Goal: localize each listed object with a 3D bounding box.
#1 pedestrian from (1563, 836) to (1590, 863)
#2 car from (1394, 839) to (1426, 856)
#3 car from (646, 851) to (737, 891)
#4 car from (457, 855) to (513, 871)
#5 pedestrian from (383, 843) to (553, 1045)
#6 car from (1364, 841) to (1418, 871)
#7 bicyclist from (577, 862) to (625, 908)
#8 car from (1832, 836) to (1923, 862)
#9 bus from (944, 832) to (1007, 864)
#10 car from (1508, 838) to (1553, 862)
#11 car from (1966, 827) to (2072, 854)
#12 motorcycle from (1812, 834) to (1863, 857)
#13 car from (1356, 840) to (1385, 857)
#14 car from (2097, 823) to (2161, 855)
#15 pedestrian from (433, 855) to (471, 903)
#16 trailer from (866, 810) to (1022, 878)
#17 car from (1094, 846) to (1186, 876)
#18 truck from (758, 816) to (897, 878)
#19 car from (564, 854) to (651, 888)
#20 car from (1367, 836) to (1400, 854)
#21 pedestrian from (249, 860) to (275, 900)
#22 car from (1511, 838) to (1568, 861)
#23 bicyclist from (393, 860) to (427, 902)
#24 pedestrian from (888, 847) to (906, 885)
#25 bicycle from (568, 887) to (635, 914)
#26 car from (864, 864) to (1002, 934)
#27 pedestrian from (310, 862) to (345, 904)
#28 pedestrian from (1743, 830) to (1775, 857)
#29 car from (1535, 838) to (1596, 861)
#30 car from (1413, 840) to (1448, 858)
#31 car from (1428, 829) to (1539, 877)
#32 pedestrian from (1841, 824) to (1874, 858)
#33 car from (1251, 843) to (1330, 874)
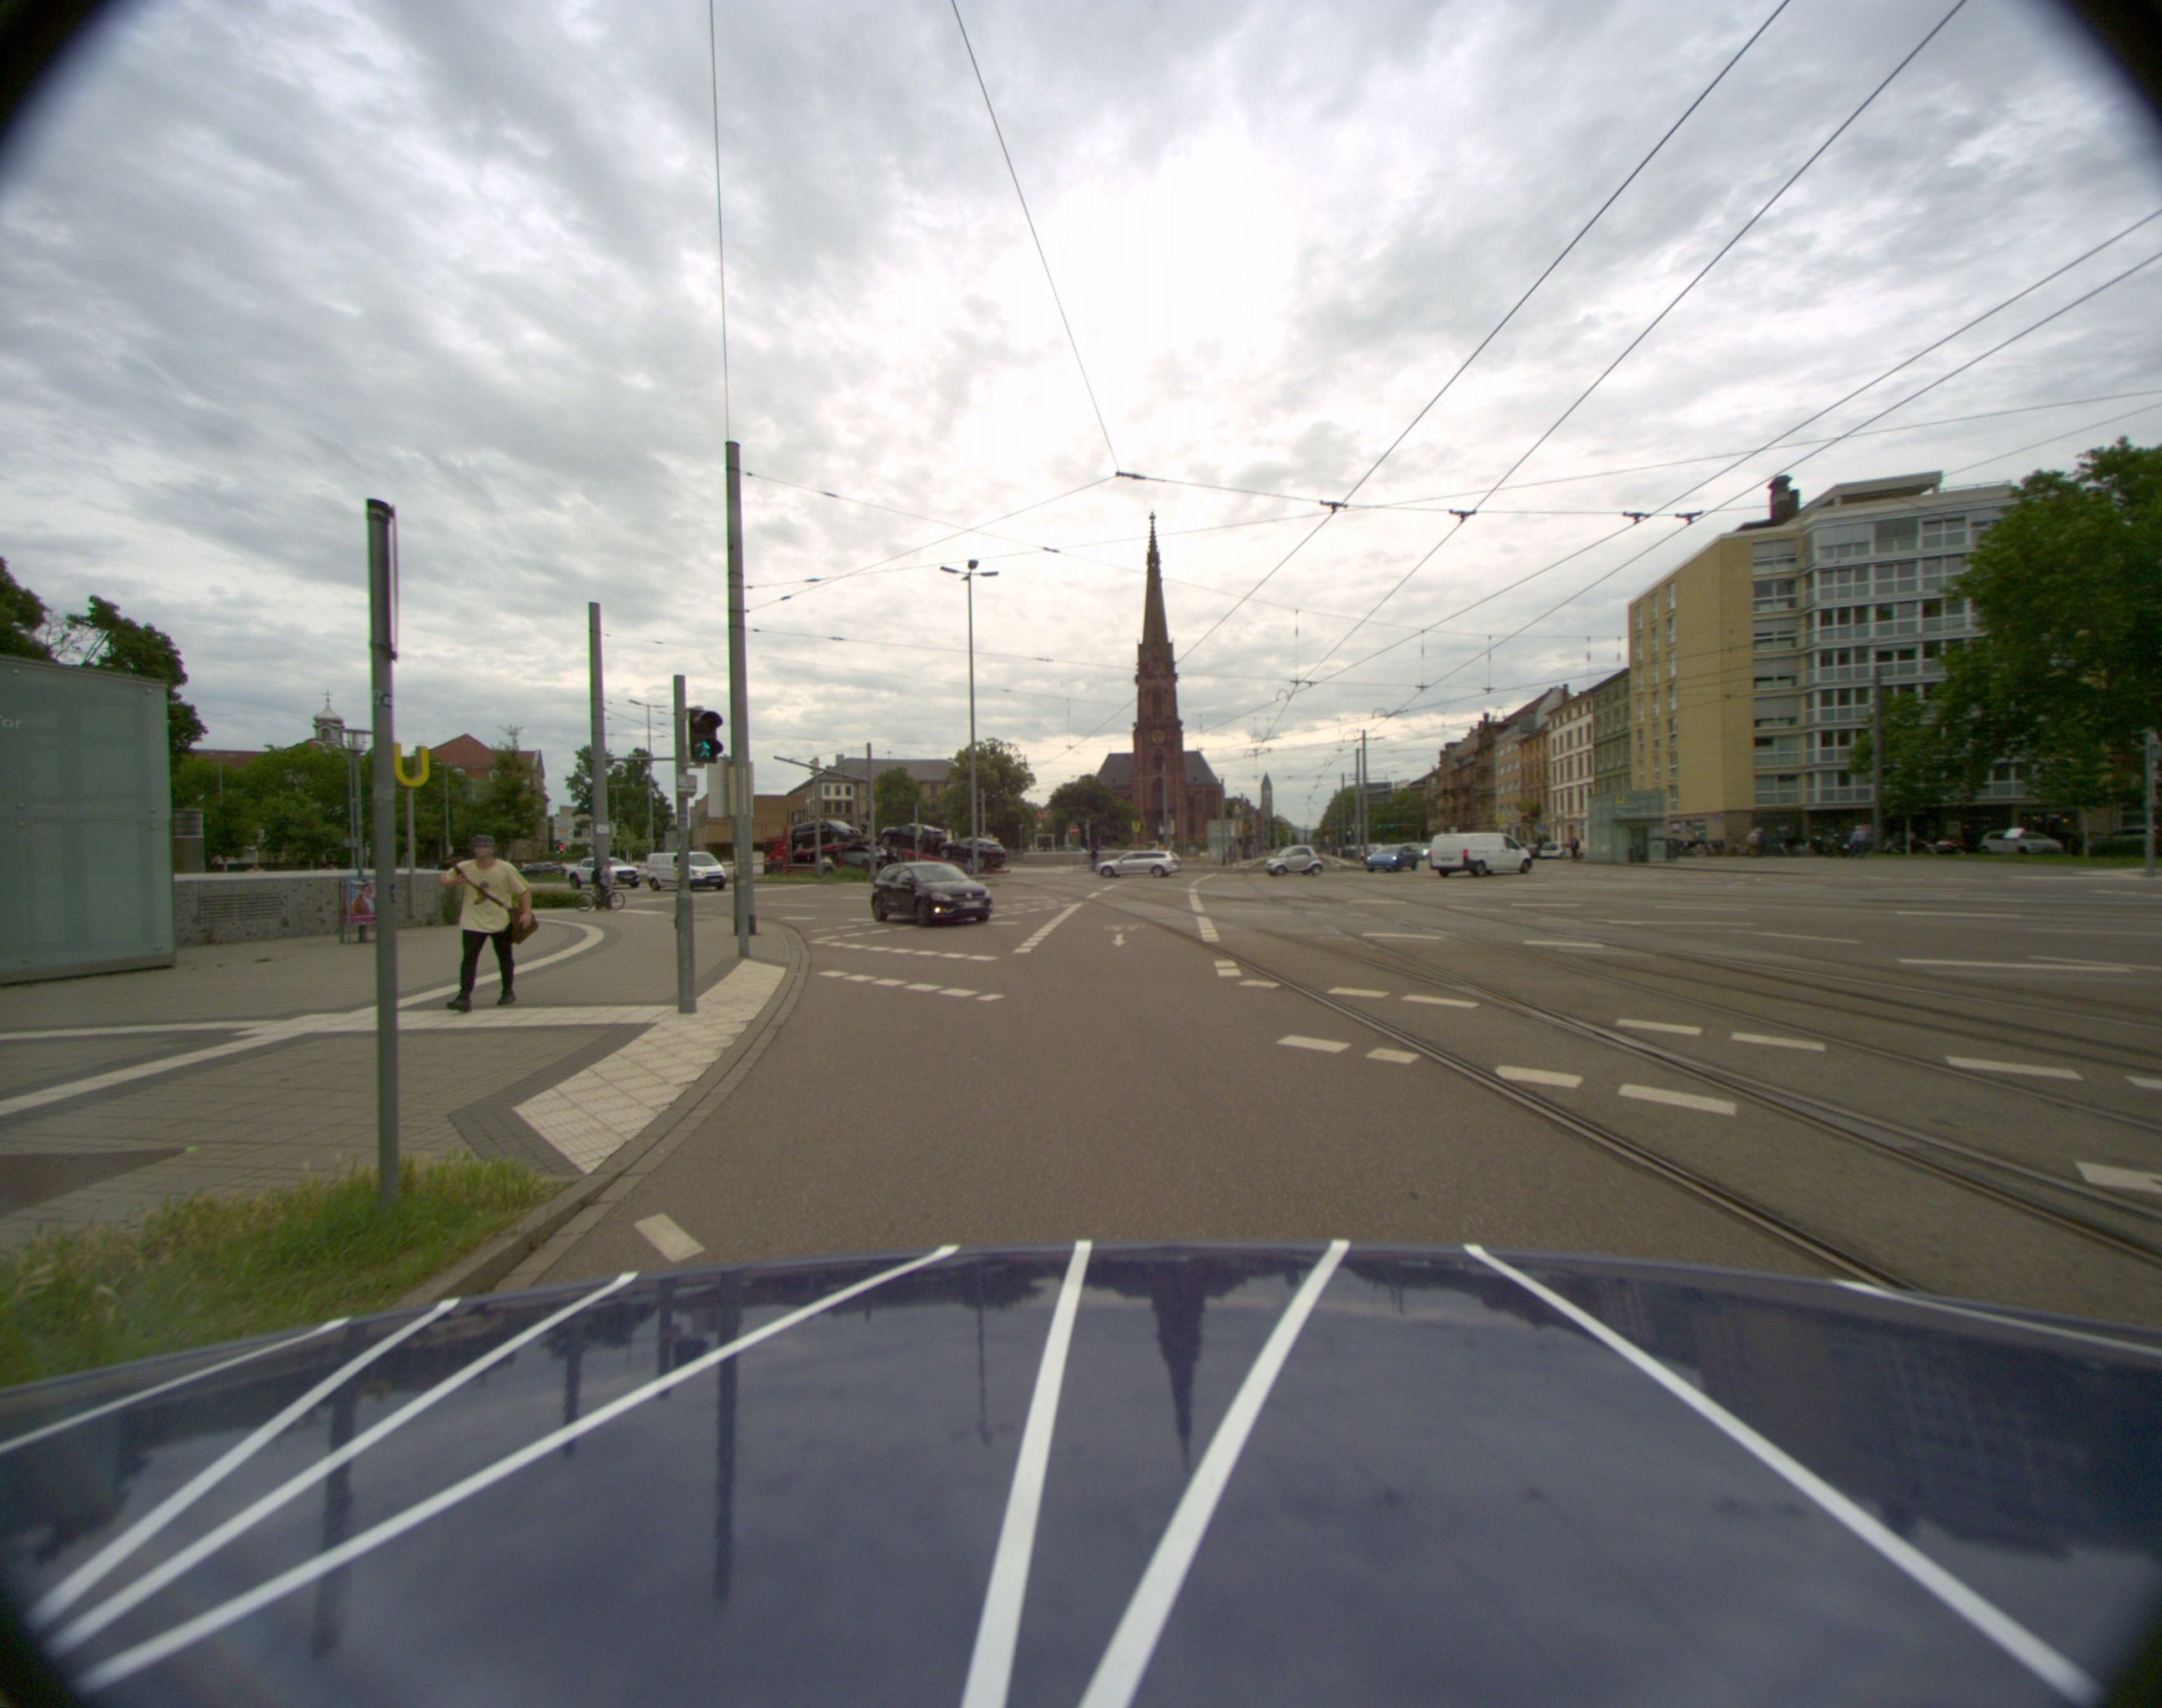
[{"bbox_3d":[32.898,-0.288,50.443,1.178,1.774,1.041,-1,1,11],"label":"pedestrian"},{"bbox_3d":[30.942,-0.593,71.502,1.996,1.521,4.003,-1,1,13],"label":"car"},{"bbox_3d":[-19.992,0.842,38.929,4.511,1.931,2.004,-1,1,31],"label":"car"},{"bbox_3d":[-70.527,1.068,90.019,1.910,1.707,5.246,-1,1,8],"label":"car"},{"bbox_3d":[-6.207,0.833,7.798,0.888,1.856,1.284,-2,1,-18],"label":"pedestrian"},{"bbox_3d":[17.282,0.099,42.285,1.995,1.484,4.066,-3,0,33],"label":"car"},{"bbox_3d":[-16.515,1.056,26.157,0.758,1.512,1.103,-1,1,29],"label":"bicyclist"},{"bbox_3d":[49.479,-0.329,47.318,1.996,1.543,4.003,-1,1,12],"label":"car"},{"bbox_3d":[-11.593,-0.688,82.103,2.868,3.060,11.992,-3,2,-27],"label":"bus"},{"bbox_3d":[29.434,-0.304,49.890,1.771,1.460,4.005,-1,1,19],"label":"car"},{"bbox_3d":[56.802,-0.812,46.117,1.996,1.543,4.003,-1,1,12],"label":"car"},{"bbox_3d":[41.023,-0.481,41.257,0.863,1.172,2.550,-1,2,17],"label":"motorcycle"},{"bbox_3d":[26.903,-0.547,70.717,1.996,1.521,4.003,-1,1,13],"label":"car"},{"bbox_3d":[60.696,-0.888,42.796,1.997,1.696,4.002,-1,2,12],"label":"car"},{"bbox_3d":[-25.713,1.011,31.073,0.724,1.917,0.874,-1,1,0],"label":"pedestrian"},{"bbox_3d":[-8.649,-0.576,47.582,9.530,3.951,3.001,-1,2,25],"label":"trailer"},{"bbox_3d":[3.235,0.439,41.549,4.669,1.484,2.003,-2,-2,18],"label":"car"},{"bbox_3d":[-17.609,-0.440,52.369,10.427,3.898,3.020,-1,2,32],"label":"truck"},{"bbox_3d":[-27.308,0.982,43.798,4.739,1.838,2.094,-1,1,27],"label":"car"},{"bbox_3d":[25.676,-0.809,64.622,1.996,1.434,4.004,-1,1,14],"label":"car"},{"bbox_3d":[-37.026,1.161,34.363,0.596,1.789,0.632,-1,-2,29],"label":"pedestrian"},{"bbox_3d":[38.990,-0.391,64.641,4.003,1.745,2.077,-2,2,-18],"label":"car"},{"bbox_3d":[-25.304,1.002,28.657,0.693,1.551,0.925,0,-1,-22],"label":"bicyclist"},{"bbox_3d":[-9.448,0.598,39.057,0.782,1.932,0.980,-2,1,-19],"label":"pedestrian"},{"bbox_3d":[-16.494,1.592,26.174,0.765,0.835,1.830,-1,-1,29],"label":"bicycle"},{"bbox_3d":[-3.617,0.977,18.052,1.659,1.404,3.989,-2,1,-36],"label":"car"},{"bbox_3d":[-32.796,1.240,33.084,0.702,1.795,0.840,-1,1,25],"label":"pedestrian"},{"bbox_3d":[43.217,-0.663,48.447,1.039,1.630,1.333,-1,1,12],"label":"pedestrian"},{"bbox_3d":[39.377,-0.389,61.770,4.003,1.745,2.077,-2,2,-18],"label":"car"},{"bbox_3d":[29.305,-0.466,63.826,1.996,1.434,4.004,-1,1,14],"label":"car"},{"bbox_3d":[17.879,-0.096,33.694,5.096,1.872,1.918,-3,3,-30],"label":"car"},{"bbox_3d":[39.491,-0.667,38.651,0.706,1.710,0.915,-2,2,4],"label":"pedestrian"},{"bbox_3d":[10.957,0.233,39.883,3.618,1.485,2.000,-1,1,2],"label":"car"}]
